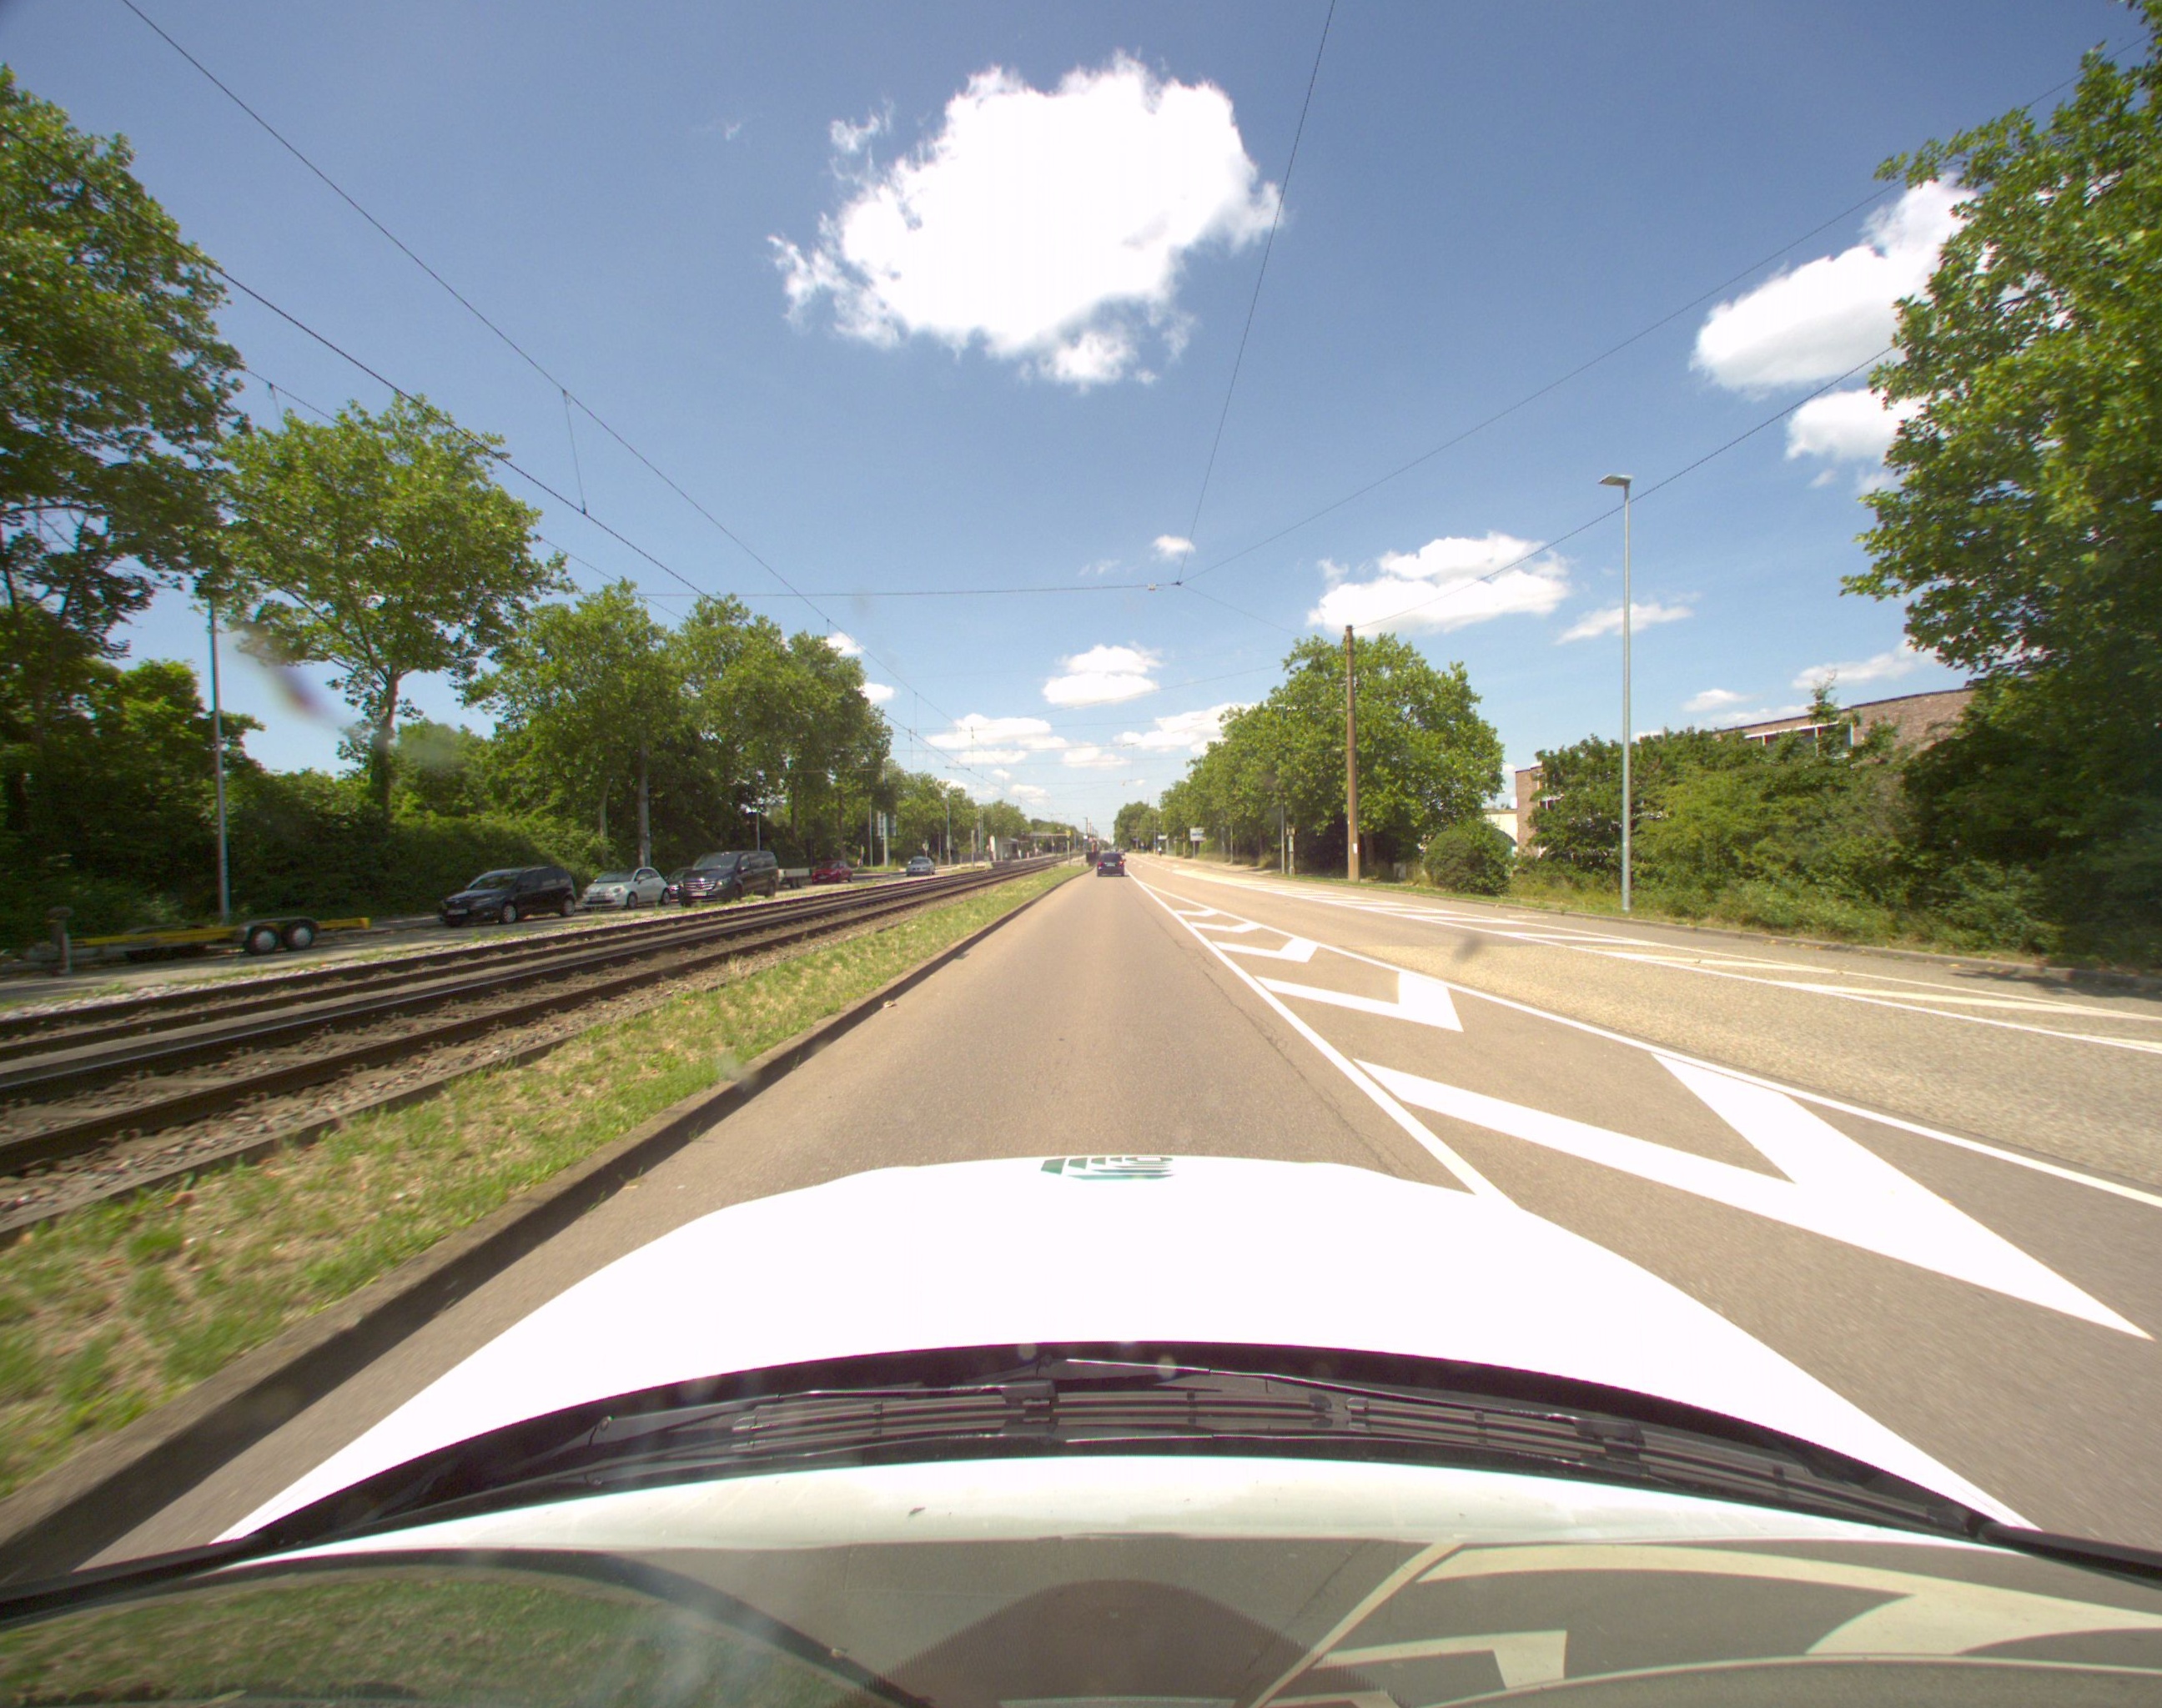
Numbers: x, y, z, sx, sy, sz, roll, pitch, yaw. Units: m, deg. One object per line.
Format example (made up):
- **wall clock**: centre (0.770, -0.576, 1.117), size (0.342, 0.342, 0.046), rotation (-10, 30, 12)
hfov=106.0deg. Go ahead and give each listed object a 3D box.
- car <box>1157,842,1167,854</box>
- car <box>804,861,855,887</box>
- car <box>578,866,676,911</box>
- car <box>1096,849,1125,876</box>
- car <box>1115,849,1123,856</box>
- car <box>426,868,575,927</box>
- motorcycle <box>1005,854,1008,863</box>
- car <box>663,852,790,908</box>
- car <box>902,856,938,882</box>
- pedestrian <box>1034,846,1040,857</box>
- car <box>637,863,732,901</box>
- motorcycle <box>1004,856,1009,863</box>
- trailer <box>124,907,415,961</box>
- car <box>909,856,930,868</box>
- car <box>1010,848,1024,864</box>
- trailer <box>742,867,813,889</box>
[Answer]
- **car**: centre (14.513, -1.067, 146.360), size (1.606, 2.013, 3.441), rotation (0, 1, 1)
- **car**: centre (-16.427, 1.256, 53.307), size (1.986, 1.574, 4.001), rotation (-1, 0, 1)
- **car**: centre (-16.384, 1.185, 29.611), size (1.429, 1.451, 3.741), rotation (-1, 0, 0)
- **car**: centre (1.978, 0.507, 53.596), size (1.845, 1.570, 4.392), rotation (0, 2, 3)
- **car**: centre (9.118, -0.371, 193.565), size (1.877, 1.639, 4.004), rotation (2, 1, 3)
- **car**: centre (-16.472, 1.171, 23.367), size (1.429, 1.451, 3.921), rotation (-1, 0, 0)
- **motorcycle**: centre (-9.736, 0.542, 106.617), size (0.280, 1.173, 0.394), rotation (-1, 0, 33)
- **car**: centre (-12.684, 0.858, 29.631), size (2.109, 1.790, 5.407), rotation (-1, 0, 1)
- **car**: centre (-13.123, 1.230, 66.560), size (1.986, 2.013, 4.001), rotation (-1, 0, 1)
- **pedestrian**: centre (-7.859, -0.430, 145.892), size (0.949, 2.013, 0.892), rotation (0, 1, 1)
- **car**: centre (-16.717, 1.145, 34.595), size (1.864, 1.401, 4.417), rotation (-1, 0, 0)
- **motorcycle**: centre (-9.740, 0.773, 106.601), size (0.228, 0.898, 0.890), rotation (-1, 0, 33)
- **trailer**: centre (-16.527, 1.608, 16.941), size (1.986, 0.742, 4.001), rotation (-1, -1, 1)
- **car**: centre (-22.791, 1.106, 115.289), size (1.986, 1.574, 4.002), rotation (-1, 0, 2)
- **car**: centre (-8.517, 0.218, 108.672), size (1.580, 2.013, 4.110), rotation (0, 1, 1)
- **trailer**: centre (-16.413, 1.264, 44.300), size (1.886, 1.044, 5.104), rotation (0, 0, 1)
